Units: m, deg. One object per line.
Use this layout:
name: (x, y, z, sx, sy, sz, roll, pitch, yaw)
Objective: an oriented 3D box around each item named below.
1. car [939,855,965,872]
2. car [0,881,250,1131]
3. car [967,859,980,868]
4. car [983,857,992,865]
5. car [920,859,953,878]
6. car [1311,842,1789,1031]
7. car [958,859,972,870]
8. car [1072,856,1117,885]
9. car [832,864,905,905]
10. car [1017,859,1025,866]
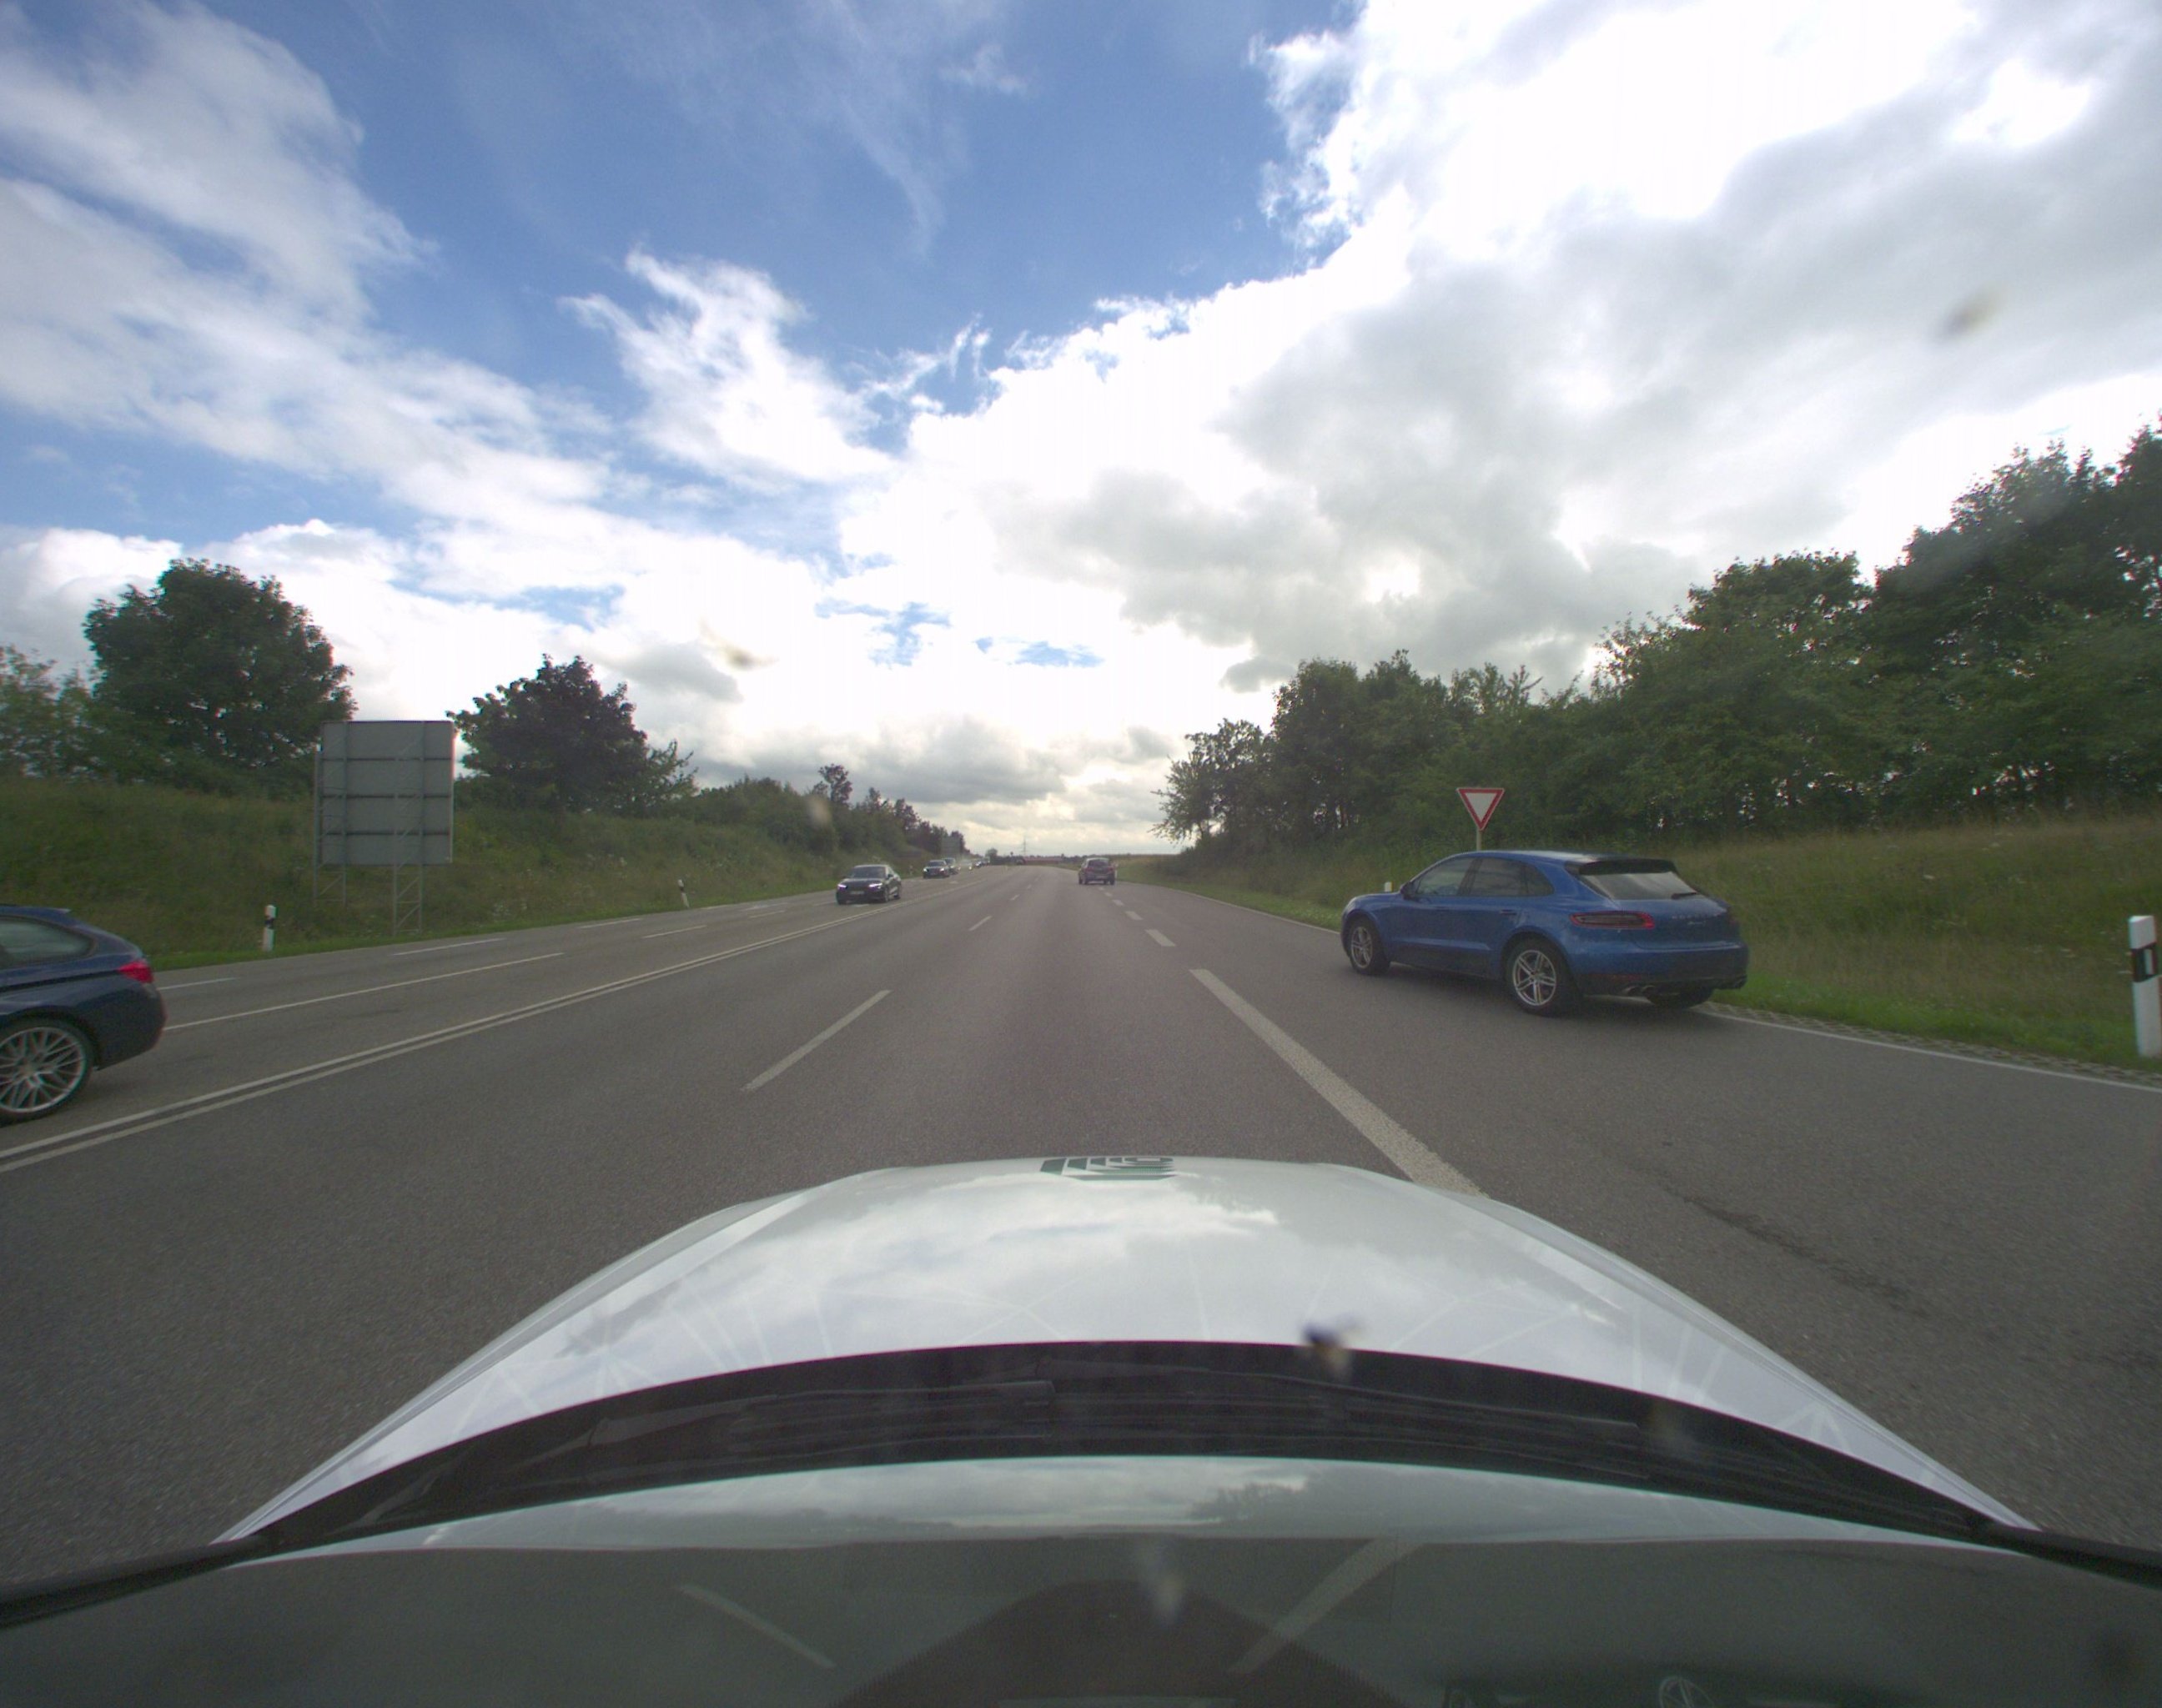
car: (-13.262, 0.940, 83.887, 1.989, 1.610, 4.988, -1, 0, -2)
car: (-7.642, 0.988, 4.032, 2.043, 1.484, 4.879, -2, 0, -1)
car: (-17.263, 1.514, 130.695, 1.992, 1.508, 3.990, -1, 0, -7)
car: (-25.530, 1.836, 222.783, 2.359, 2.211, 5.912, -1, 0, -5)
car: (-12.132, 1.216, 68.625, 1.988, 1.494, 4.989, -1, 0, -2)
car: (4.799, 0.719, 9.344, 1.997, 1.570, 4.730, 1, -1, -16)
car: (-15.531, 1.397, 109.383, 1.666, 1.442, 4.137, -1, 0, -6)
car: (0.721, 0.914, 46.451, 1.992, 1.535, 3.989, 0, 0, -8)
car: (-8.080, 1.120, 31.399, 1.761, 1.383, 4.539, -1, 0, -2)
car: (-16.762, 2.334, 228.244, 1.989, 1.715, 3.996, -1, 0, -3)
